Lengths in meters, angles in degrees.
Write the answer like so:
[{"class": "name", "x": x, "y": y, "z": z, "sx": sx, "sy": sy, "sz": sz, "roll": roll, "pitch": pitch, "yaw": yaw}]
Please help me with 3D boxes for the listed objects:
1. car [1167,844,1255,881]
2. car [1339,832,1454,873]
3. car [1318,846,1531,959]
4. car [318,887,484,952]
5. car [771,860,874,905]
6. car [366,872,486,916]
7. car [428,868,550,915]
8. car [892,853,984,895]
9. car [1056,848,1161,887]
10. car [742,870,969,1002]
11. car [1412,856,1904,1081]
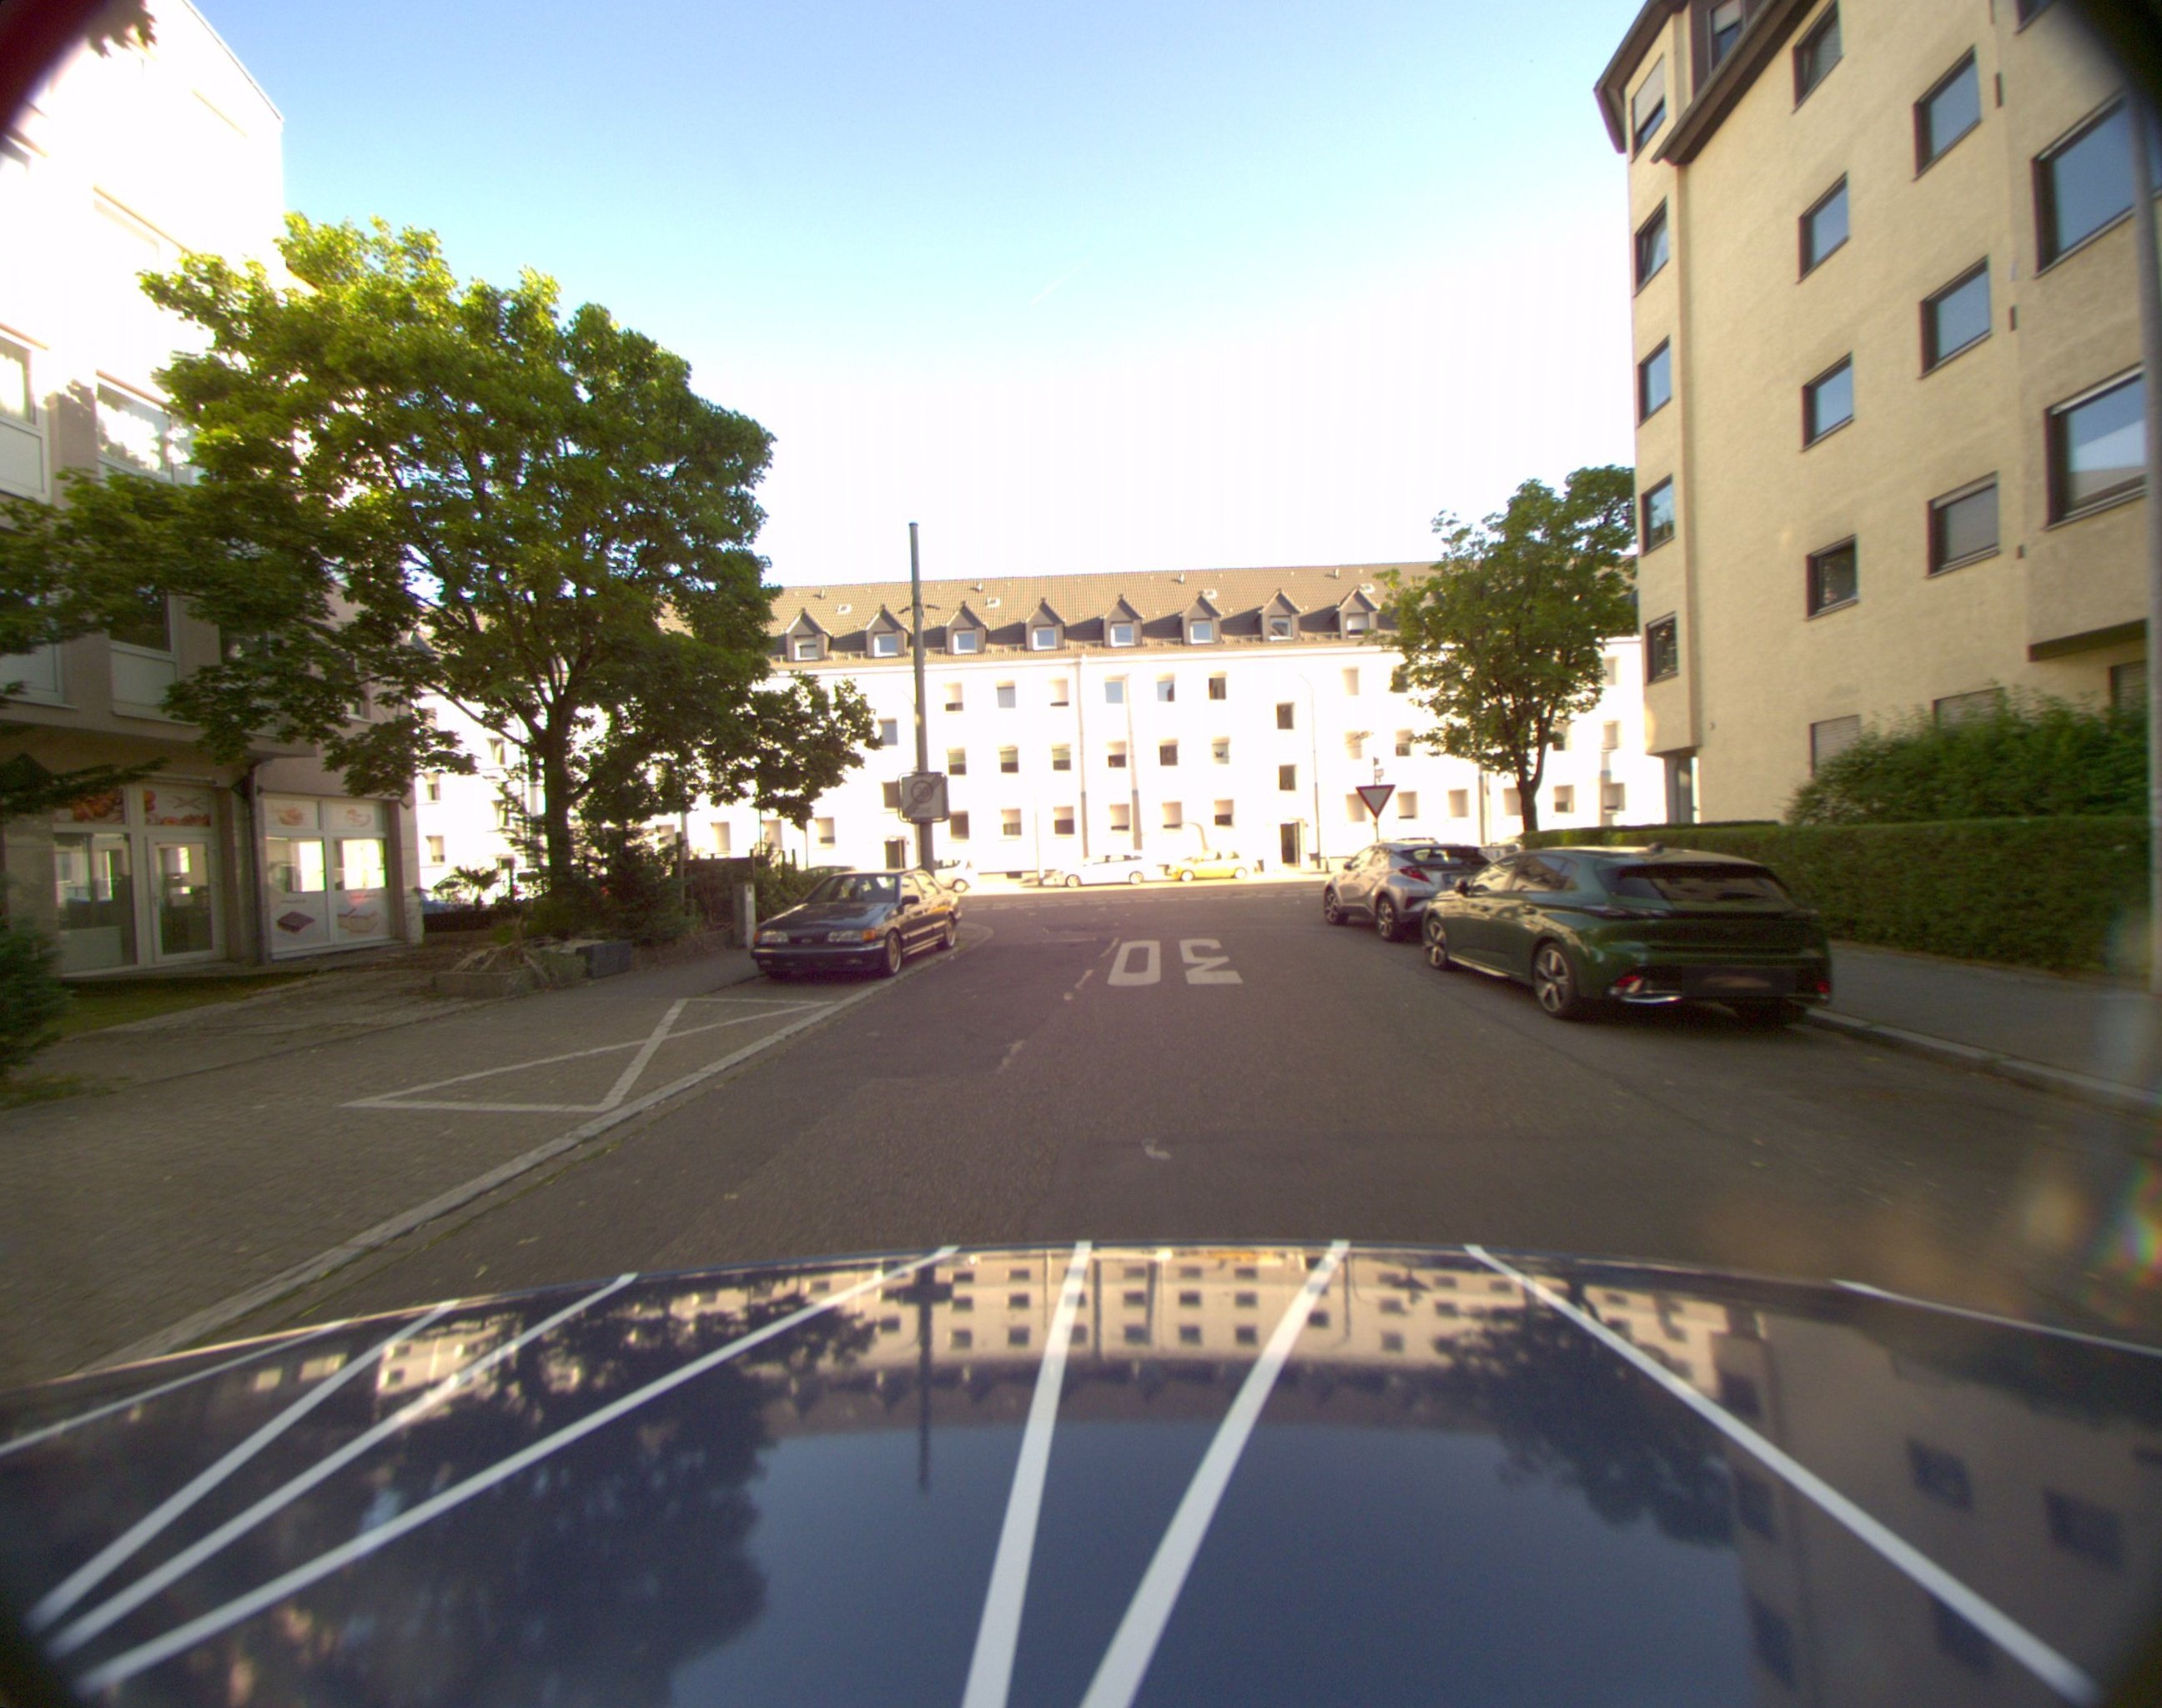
[{"class": "car", "x": 5.781, "y": 0.372, "z": 34.049, "sx": 3.611, "sy": 1.440, "sz": 1.553, "roll": -3, "pitch": 2, "yaw": -2}, {"class": "car", "x": 14.178, "y": -0.080, "z": 34.277, "sx": 4.283, "sy": 1.548, "sz": 1.999, "roll": -3, "pitch": 1, "yaw": -3}, {"class": "car", "x": 5.399, "y": 0.647, "z": 12.585, "sx": 1.723, "sy": 1.547, "sz": 4.073, "roll": -1, "pitch": 1, "yaw": 1}, {"class": "car", "x": -17.239, "y": 1.646, "z": 19.359, "sx": 2.879, "sy": 1.348, "sz": 1.262, "roll": -3, "pitch": 2, "yaw": -5}, {"class": "car", "x": -11.443, "y": 1.241, "z": 33.774, "sx": 3.875, "sy": 1.498, "sz": 1.649, "roll": -6, "pitch": 1, "yaw": -1}, {"class": "car", "x": -30.544, "y": 1.854, "z": 35.512, "sx": 3.997, "sy": 1.771, "sz": 1.694, "roll": -3, "pitch": 1, "yaw": 0}, {"class": "car", "x": -26.214, "y": 1.635, "z": 33.738, "sx": 3.997, "sy": 1.771, "sz": 1.694, "roll": -3, "pitch": 1, "yaw": 0}, {"class": "car", "x": -6.299, "y": 0.854, "z": 33.768, "sx": 3.705, "sy": 1.598, "sz": 1.649, "roll": -3, "pitch": 1, "yaw": -1}, {"class": "car", "x": 1.207, "y": 0.567, "z": 33.941, "sx": 4.491, "sy": 1.498, "sz": 1.945, "roll": -3, "pitch": 1, "yaw": 0}, {"class": "car", "x": -3.047, "y": 1.029, "z": 11.370, "sx": 1.664, "sy": 1.400, "sz": 4.508, "roll": 1, "pitch": 1, "yaw": 6}, {"class": "car", "x": 4.810, "y": 0.774, "z": 7.265, "sx": 1.770, "sy": 1.444, "sz": 4.208, "roll": 1, "pitch": 1, "yaw": 5}]
